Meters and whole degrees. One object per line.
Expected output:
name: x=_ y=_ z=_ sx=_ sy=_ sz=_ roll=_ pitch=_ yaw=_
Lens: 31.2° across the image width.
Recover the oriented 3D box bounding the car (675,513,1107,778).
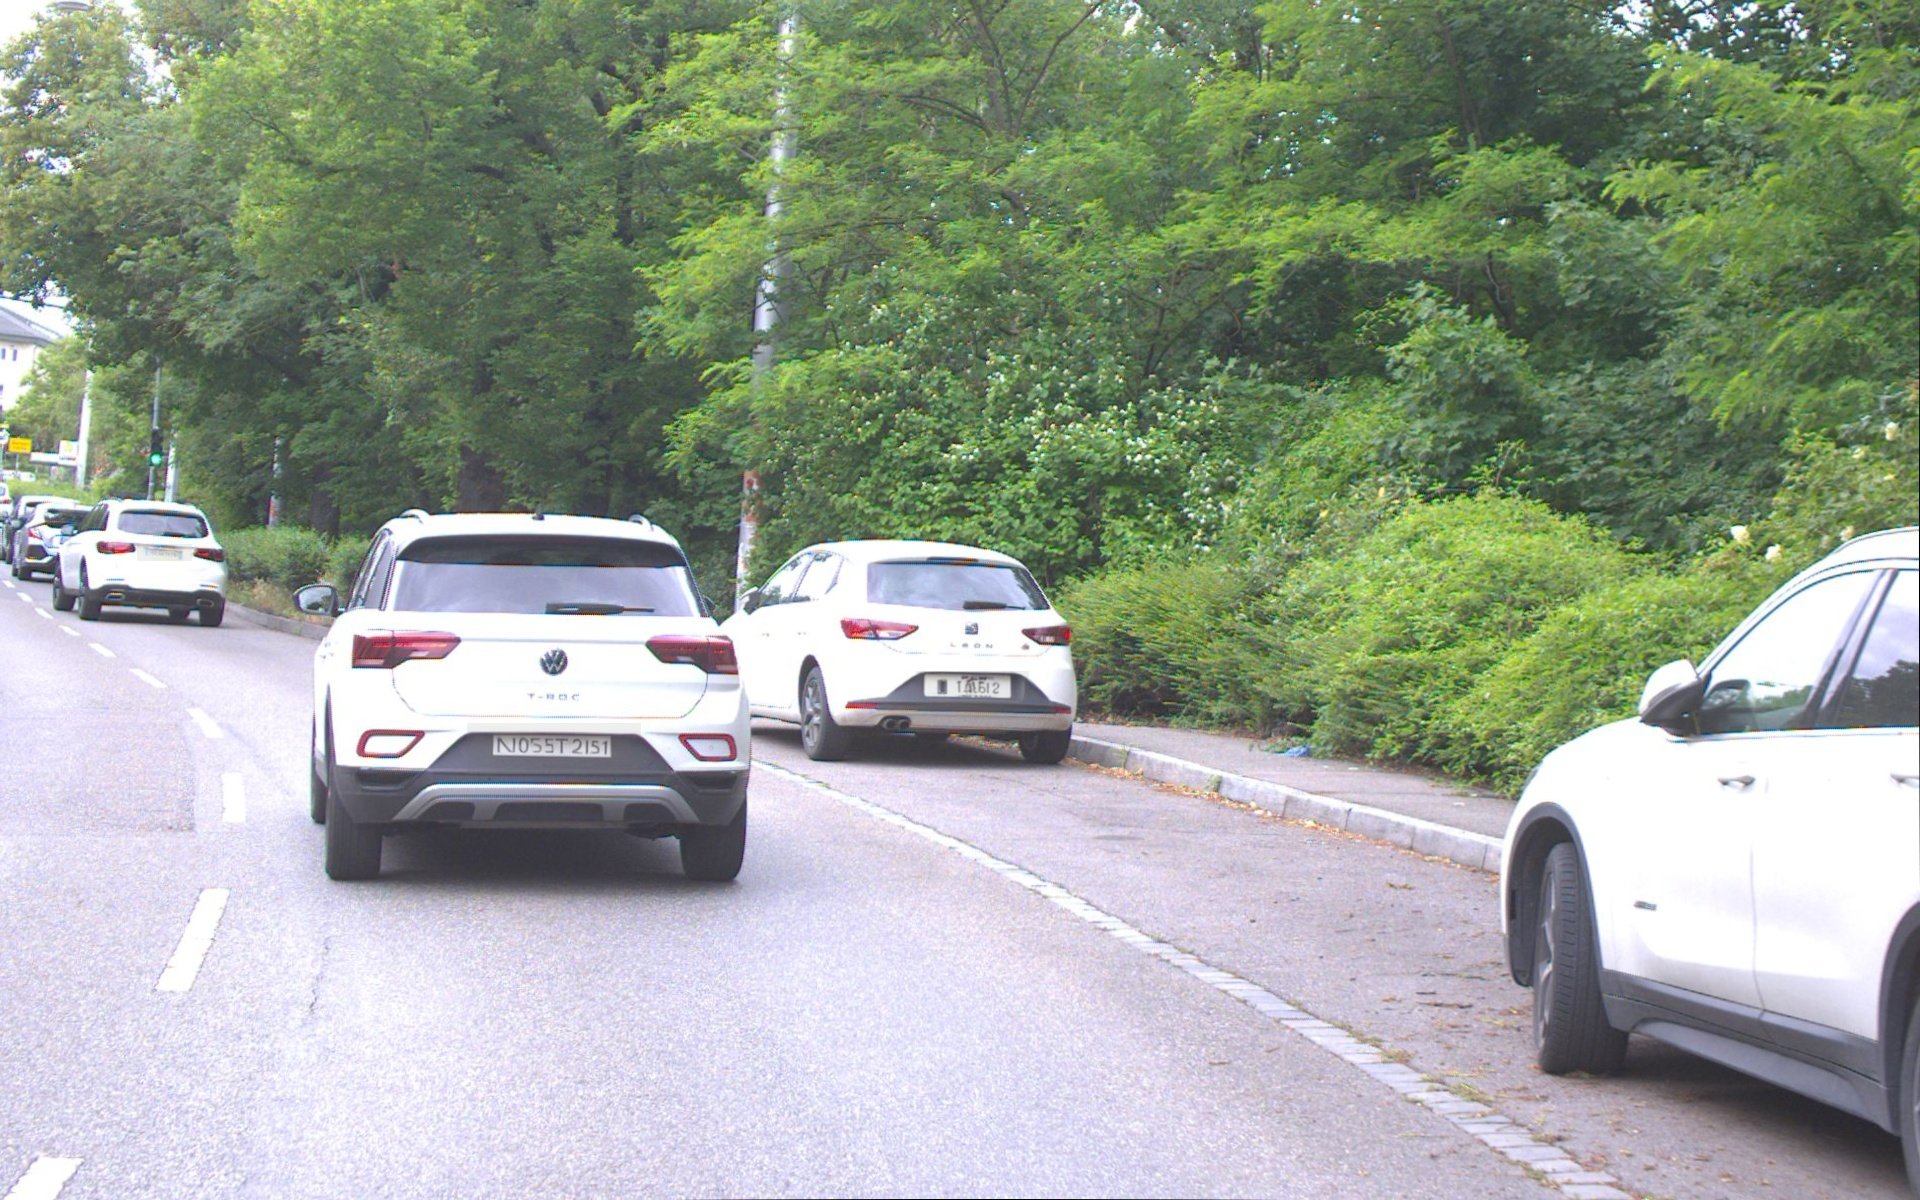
car: x=-0.607 y=0.241 z=23.945 sx=1.732 sy=1.477 sz=4.703 roll=3 pitch=2 yaw=-17

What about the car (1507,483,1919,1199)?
car: x=2.820 y=0.558 z=8.521 sx=1.758 sy=1.646 sz=4.382 roll=1 pitch=1 yaw=-7

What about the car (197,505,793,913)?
car: x=-2.253 y=0.381 z=15.625 sx=2.000 sy=1.590 sz=4.001 roll=0 pitch=1 yaw=-18

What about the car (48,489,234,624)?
car: x=-11.173 y=-0.619 z=46.750 sx=1.851 sy=1.697 sz=4.001 roll=0 pitch=2 yaw=-22
